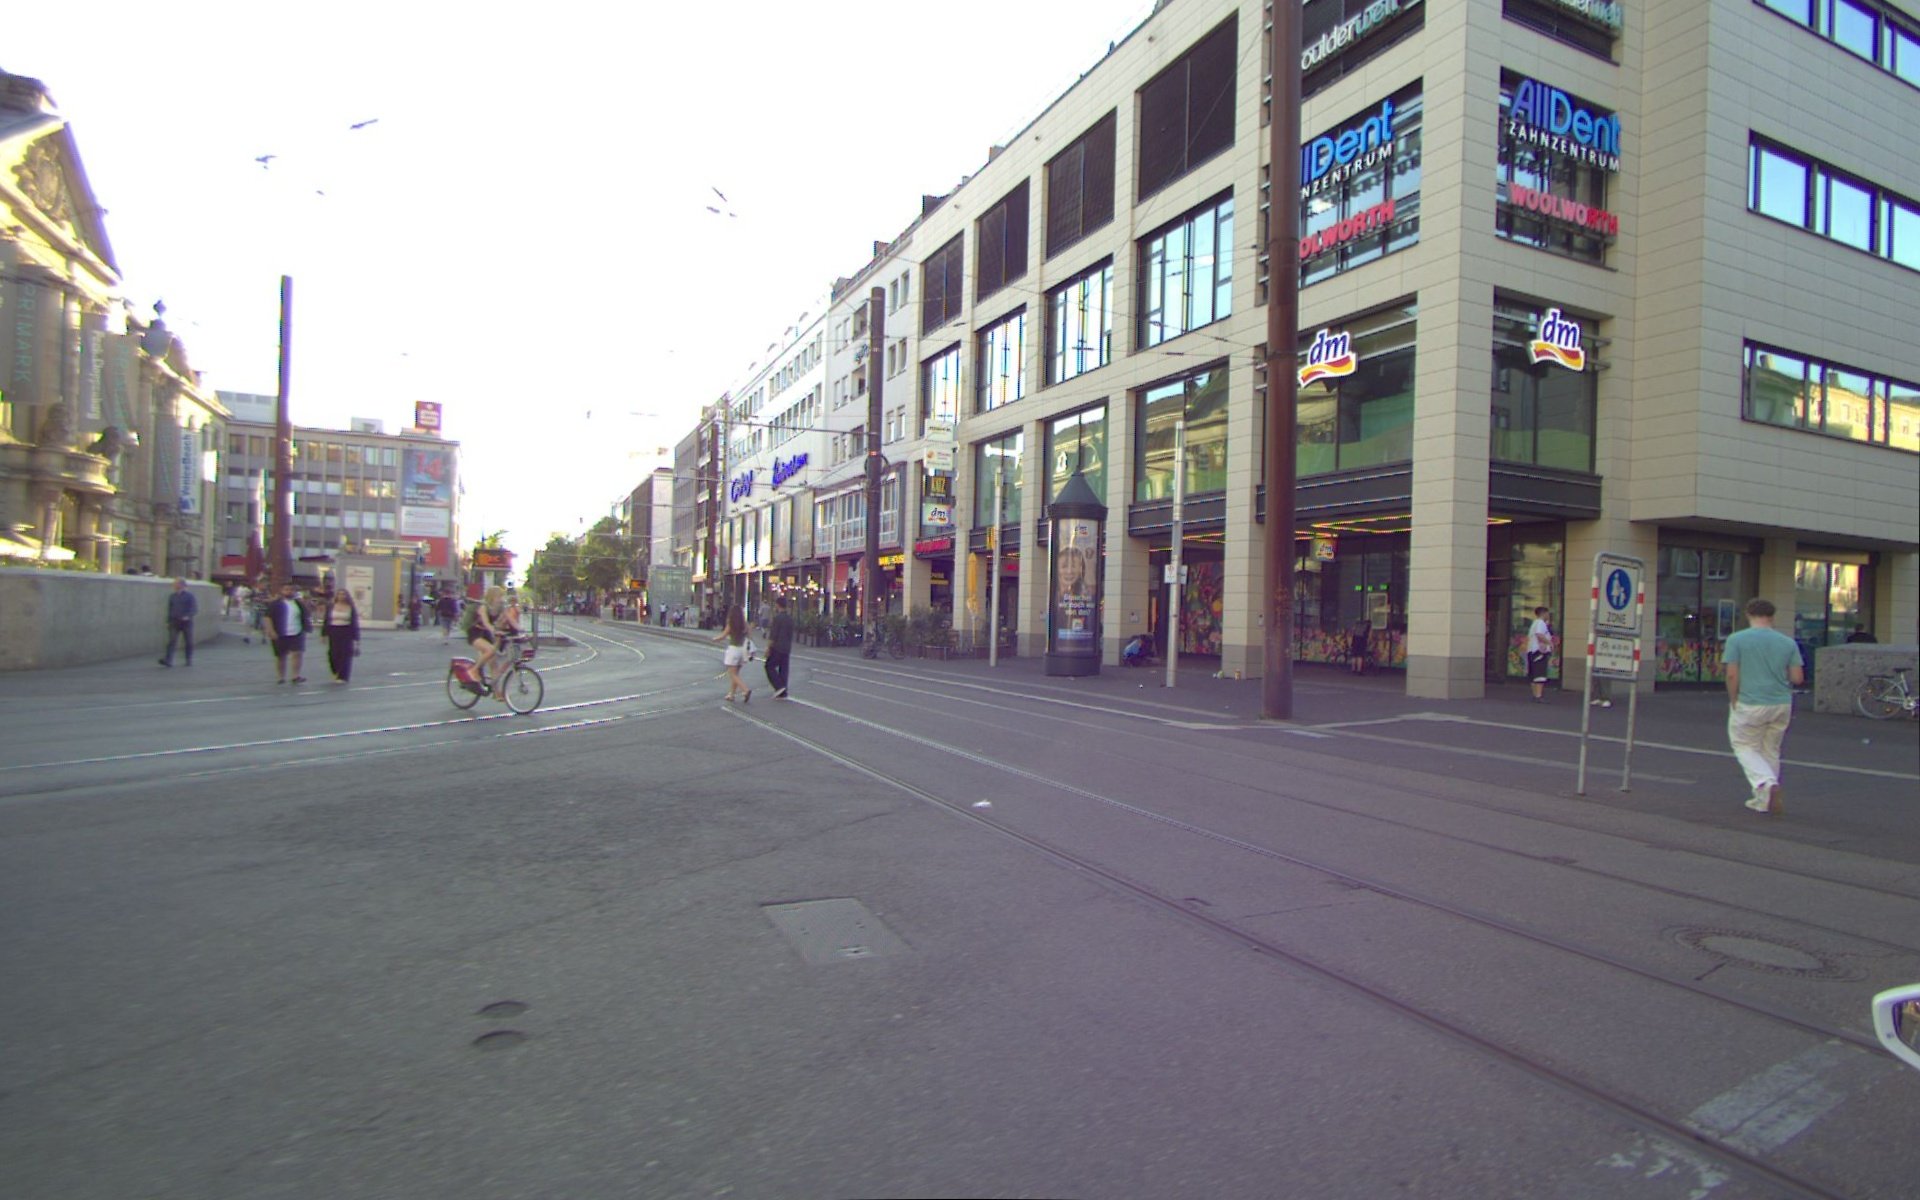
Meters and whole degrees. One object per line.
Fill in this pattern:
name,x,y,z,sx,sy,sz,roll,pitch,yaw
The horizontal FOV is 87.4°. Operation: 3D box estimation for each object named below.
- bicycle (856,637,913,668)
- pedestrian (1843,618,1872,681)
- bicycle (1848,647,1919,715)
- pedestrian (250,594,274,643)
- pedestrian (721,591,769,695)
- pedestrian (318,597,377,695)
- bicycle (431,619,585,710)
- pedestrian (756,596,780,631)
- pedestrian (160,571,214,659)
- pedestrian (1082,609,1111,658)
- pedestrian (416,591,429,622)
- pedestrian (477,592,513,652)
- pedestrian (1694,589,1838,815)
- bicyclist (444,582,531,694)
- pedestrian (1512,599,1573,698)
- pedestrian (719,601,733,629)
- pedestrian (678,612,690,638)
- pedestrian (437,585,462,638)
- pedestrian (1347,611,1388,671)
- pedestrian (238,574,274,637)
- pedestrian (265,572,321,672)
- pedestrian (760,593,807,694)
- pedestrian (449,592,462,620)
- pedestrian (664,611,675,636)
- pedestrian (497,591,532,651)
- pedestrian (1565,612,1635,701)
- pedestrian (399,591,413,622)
bicycle,-2.632,1.829,35.051,1.887,0.999,0.451,2,0,10
pedestrian,22.238,1.222,24.888,0.499,1.535,0.388,2,-1,-27
bicycle,16.852,1.447,17.748,0.444,1.136,1.692,2,0,-22
pedestrian,-23.688,0.634,34.083,0.341,1.658,0.509,1,-2,27
pedestrian,-3.585,0.709,16.750,0.642,1.696,0.527,2,-1,-25
pedestrian,-10.852,0.813,17.817,0.742,1.696,0.528,2,-1,-19
bicycle,-6.234,0.865,13.869,1.880,1.130,0.701,2,0,15
pedestrian,-9.119,0.643,47.623,0.888,1.658,0.948,2,-2,-22
pedestrian,-15.177,0.297,19.741,0.642,1.696,0.712,2,-1,-24
pedestrian,4.896,1.200,36.044,0.674,1.702,0.811,2,0,-24
pedestrian,-23.395,0.292,43.723,0.446,1.317,0.426,2,1,-31
pedestrian,-13.133,0.612,28.373,0.573,1.658,0.686,1,-1,9
pedestrian,6.865,0.819,8.551,0.856,1.784,0.763,2,0,43
bicyclist,-6.562,0.512,13.965,0.856,1.484,0.600,2,0,14
pedestrian,11.379,0.933,19.645,0.802,1.879,0.573,2,0,-14
pedestrian,-13.804,0.876,59.267,0.676,1.658,0.582,2,-2,-24
pedestrian,-18.481,1.656,67.288,0.642,1.696,0.527,2,-1,-25
pedestrian,-16.613,0.374,32.690,0.642,1.696,0.527,2,-1,-25
pedestrian,10.720,1.077,26.443,0.777,1.547,0.573,2,0,-14
pedestrian,-19.373,0.161,27.671,0.642,1.696,0.712,2,-1,-24
pedestrian,-11.473,0.380,17.297,0.640,1.696,0.528,2,-1,-19
pedestrian,-3.041,0.747,17.290,0.642,1.696,0.527,2,-1,-25
pedestrian,-23.875,0.285,47.539,0.446,1.317,0.426,2,1,-31
pedestrian,-19.612,1.592,67.778,0.642,1.696,0.527,2,-1,-25
pedestrian,-12.537,0.588,28.301,0.573,1.658,0.686,1,-1,9
pedestrian,12.545,1.095,19.694,0.802,1.681,0.767,2,0,-12
pedestrian,-23.603,0.281,42.801,0.446,1.317,0.426,2,1,-31
